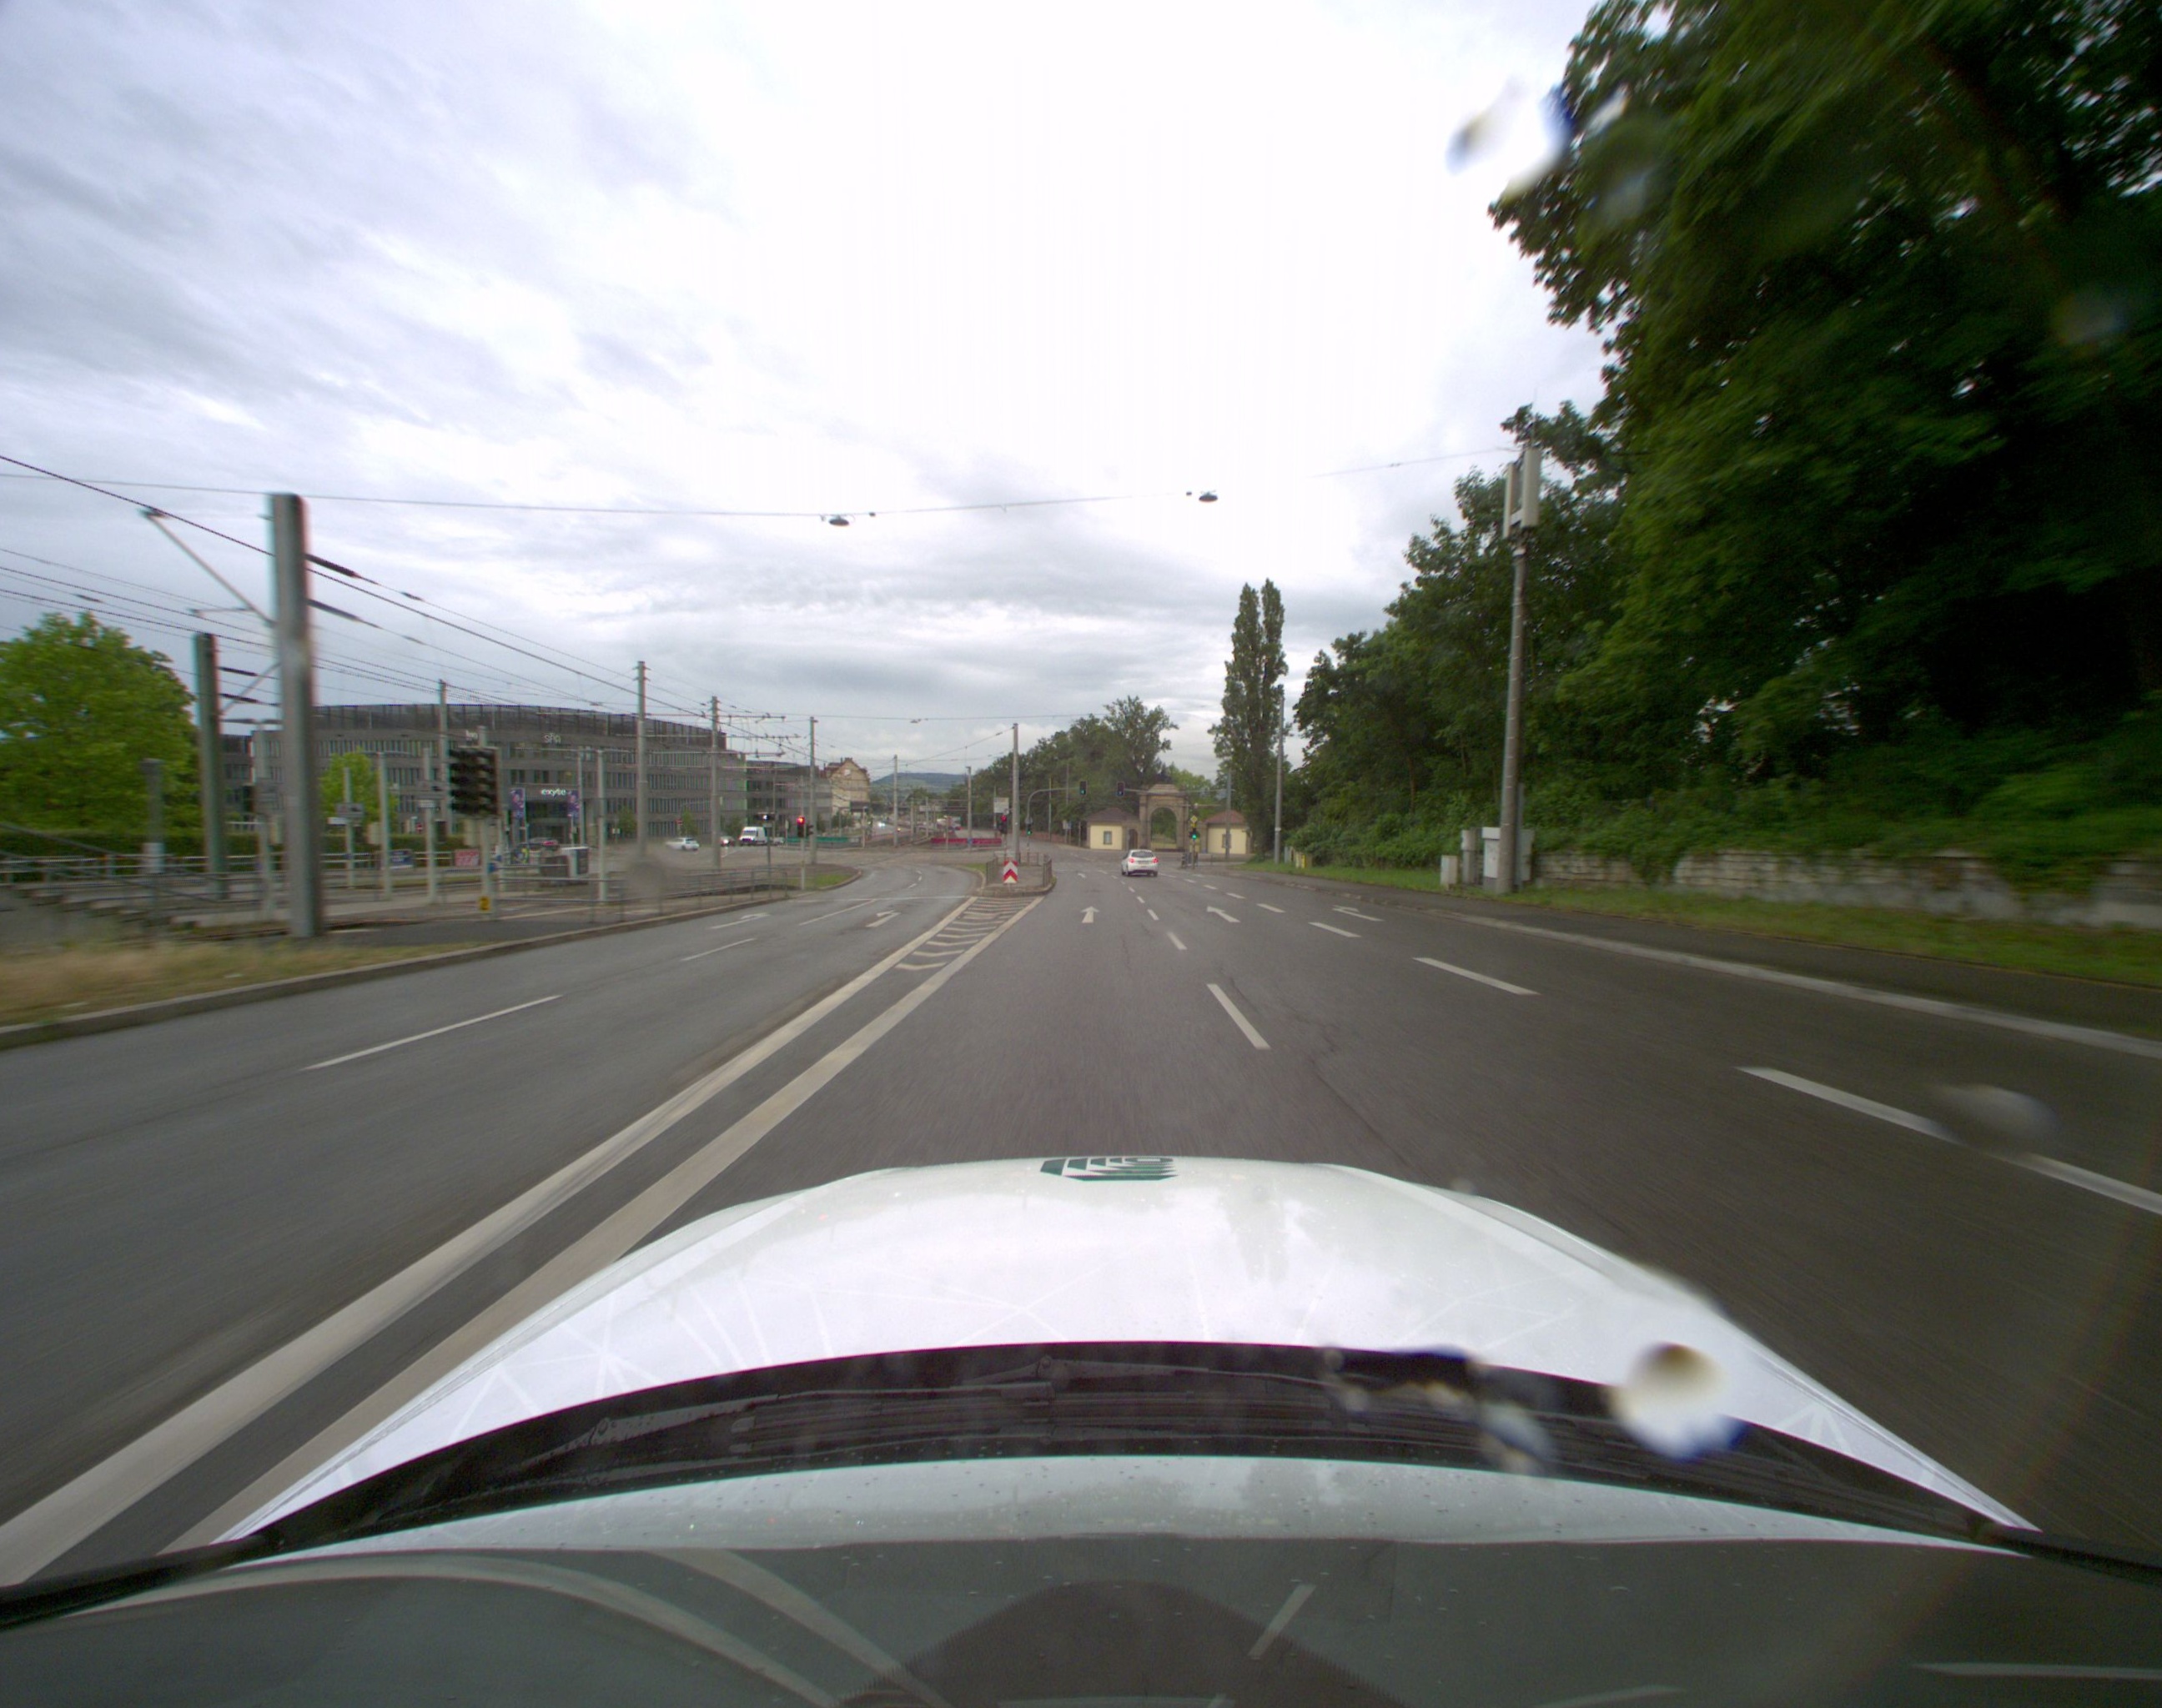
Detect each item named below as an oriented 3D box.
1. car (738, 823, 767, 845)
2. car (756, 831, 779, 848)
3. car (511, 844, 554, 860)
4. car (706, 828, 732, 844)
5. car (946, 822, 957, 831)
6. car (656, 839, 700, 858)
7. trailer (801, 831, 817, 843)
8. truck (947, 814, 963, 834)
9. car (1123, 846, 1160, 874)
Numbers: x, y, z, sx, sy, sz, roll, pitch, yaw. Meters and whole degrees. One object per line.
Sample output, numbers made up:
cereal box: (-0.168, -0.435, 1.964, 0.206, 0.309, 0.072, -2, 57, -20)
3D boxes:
car: (-43.164, -2.650, 107.259, 1.992, 2.831, 5.705, -2, 2, -7)
car: (-45.153, -2.080, 117.390, 1.991, 2.153, 4.237, -1, -1, -7)
car: (-62.620, -0.195, 93.016, 3.956, 1.816, 2.009, 0, -1, 17)
car: (-47.324, -2.338, 106.539, 1.991, 2.152, 4.238, -1, 1, -7)
car: (-27.775, -5.913, 174.845, 1.997, 1.872, 3.979, -1, 2, -16)
car: (-44.037, -0.612, 89.009, 3.956, 2.014, 2.009, 0, -1, 17)
trailer: (-48.808, -3.017, 146.191, 1.824, 2.074, 4.263, 0, -1, -8)
truck: (-38.142, -9.016, 246.435, 3.470, 5.401, 11.993, 0, -1, -14)
car: (3.359, 0.341, 45.919, 1.947, 1.488, 4.002, 0, -1, 2)
